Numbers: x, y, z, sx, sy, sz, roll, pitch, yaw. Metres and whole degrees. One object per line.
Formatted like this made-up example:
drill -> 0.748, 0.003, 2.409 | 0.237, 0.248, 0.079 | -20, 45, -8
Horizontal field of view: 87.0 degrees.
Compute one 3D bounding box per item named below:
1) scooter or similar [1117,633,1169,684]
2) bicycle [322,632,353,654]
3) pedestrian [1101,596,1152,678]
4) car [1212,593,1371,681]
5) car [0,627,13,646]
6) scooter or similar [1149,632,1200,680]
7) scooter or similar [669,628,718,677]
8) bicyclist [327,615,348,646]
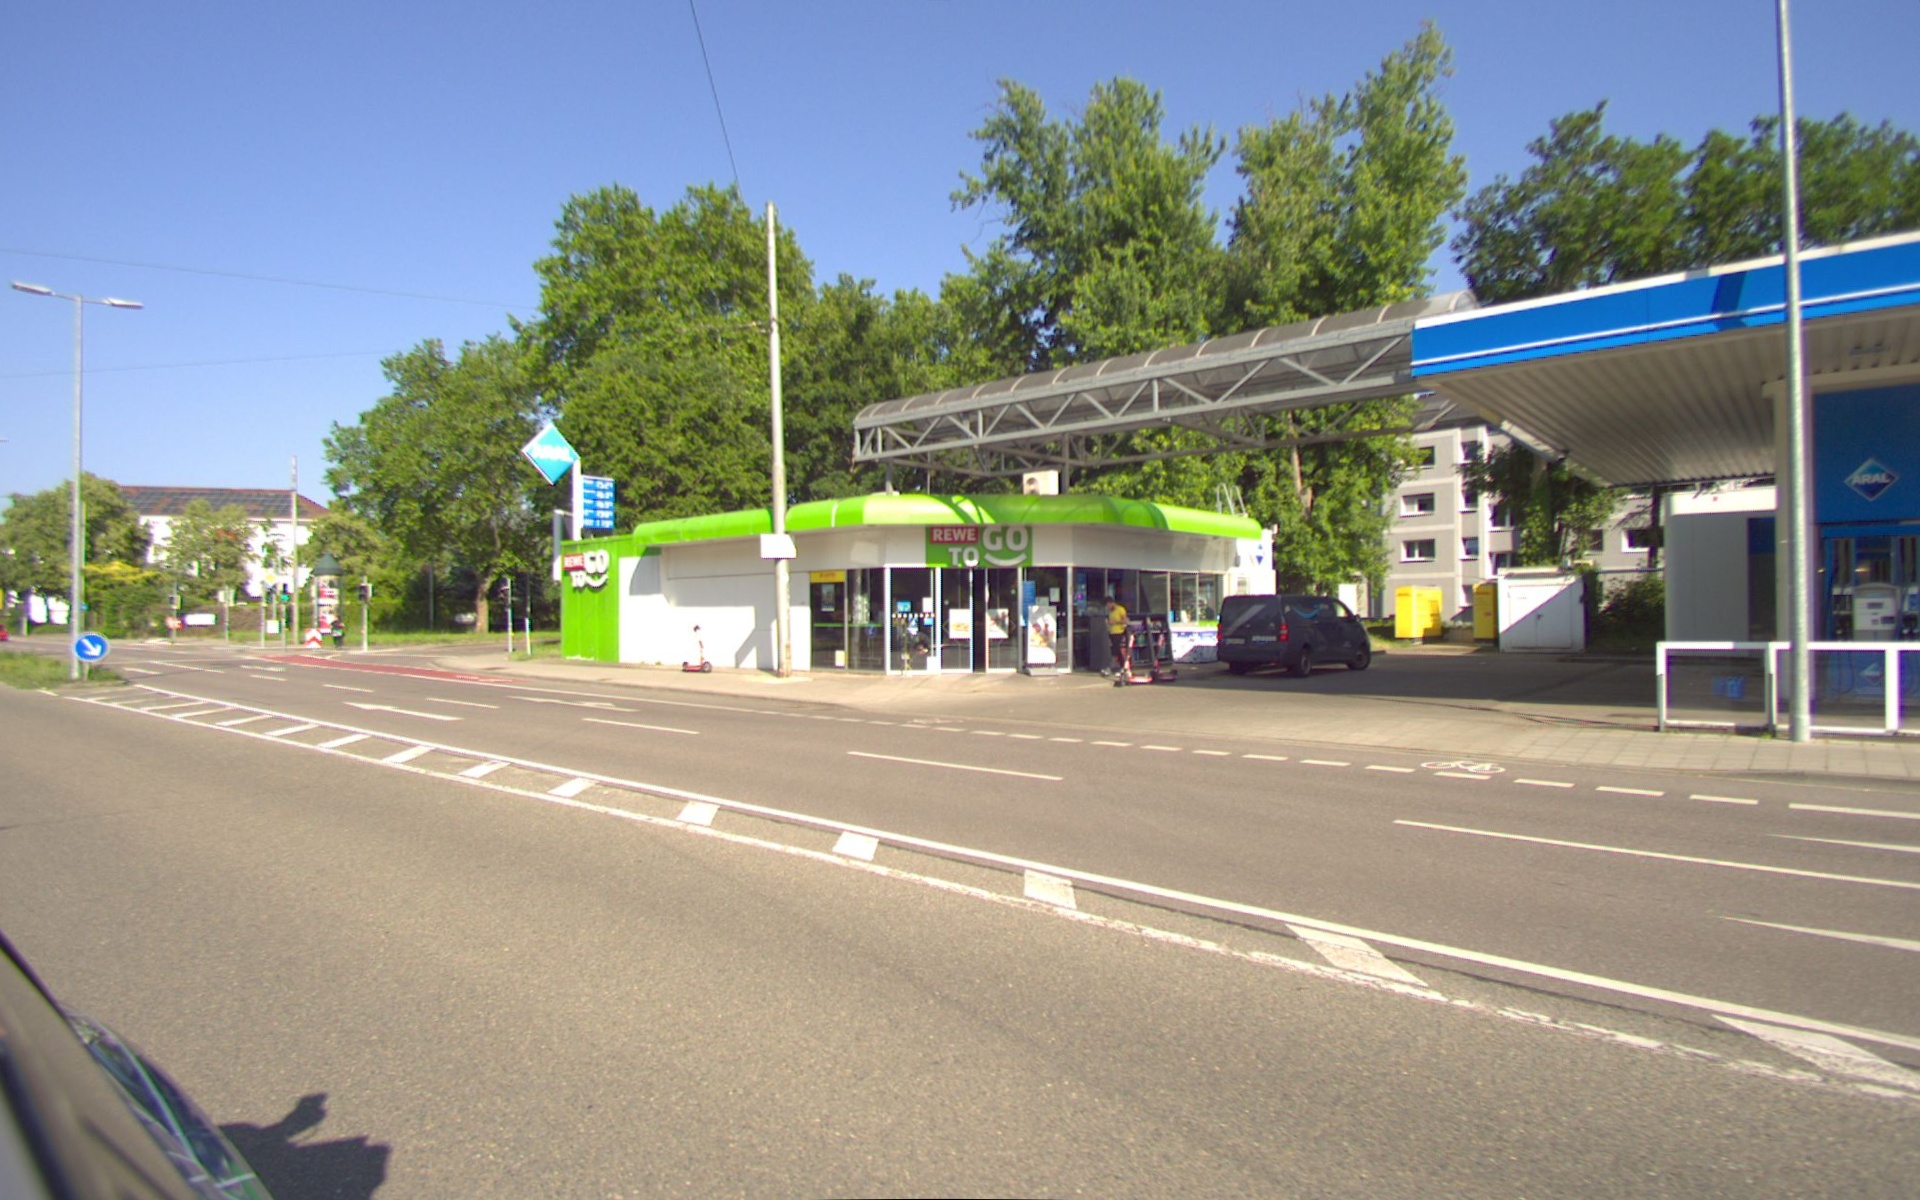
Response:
scooter or similar -> 3.763, 1.184, 20.779 | 0.499, 0.994, 1.246 | -2, -2, 40
bicycle -> -30.395, 2.078, 49.395 | 2.581, 1.057, 0.654 | -1, -1, 44
pedestrian -> 3.641, 0.802, 22.119 | 0.759, 1.759, 0.785 | 1, -2, -44
car -> 8.122, 0.847, 24.580 | 2.000, 1.950, 4.488 | -1, -1, 42
car -> -74.422, 2.822, 78.152 | 3.332, 1.427, 1.557 | -1, -1, 41
scooter or similar -> 4.629, 1.194, 21.814 | 0.499, 0.992, 1.325 | -2, -2, 40
scooter or similar -> -6.837, 1.336, 25.981 | 1.310, 1.182, 0.526 | -2, 3, 44
bicyclist -> -30.405, 1.475, 49.422 | 1.051, 1.463, 0.654 | -2, -1, 43
